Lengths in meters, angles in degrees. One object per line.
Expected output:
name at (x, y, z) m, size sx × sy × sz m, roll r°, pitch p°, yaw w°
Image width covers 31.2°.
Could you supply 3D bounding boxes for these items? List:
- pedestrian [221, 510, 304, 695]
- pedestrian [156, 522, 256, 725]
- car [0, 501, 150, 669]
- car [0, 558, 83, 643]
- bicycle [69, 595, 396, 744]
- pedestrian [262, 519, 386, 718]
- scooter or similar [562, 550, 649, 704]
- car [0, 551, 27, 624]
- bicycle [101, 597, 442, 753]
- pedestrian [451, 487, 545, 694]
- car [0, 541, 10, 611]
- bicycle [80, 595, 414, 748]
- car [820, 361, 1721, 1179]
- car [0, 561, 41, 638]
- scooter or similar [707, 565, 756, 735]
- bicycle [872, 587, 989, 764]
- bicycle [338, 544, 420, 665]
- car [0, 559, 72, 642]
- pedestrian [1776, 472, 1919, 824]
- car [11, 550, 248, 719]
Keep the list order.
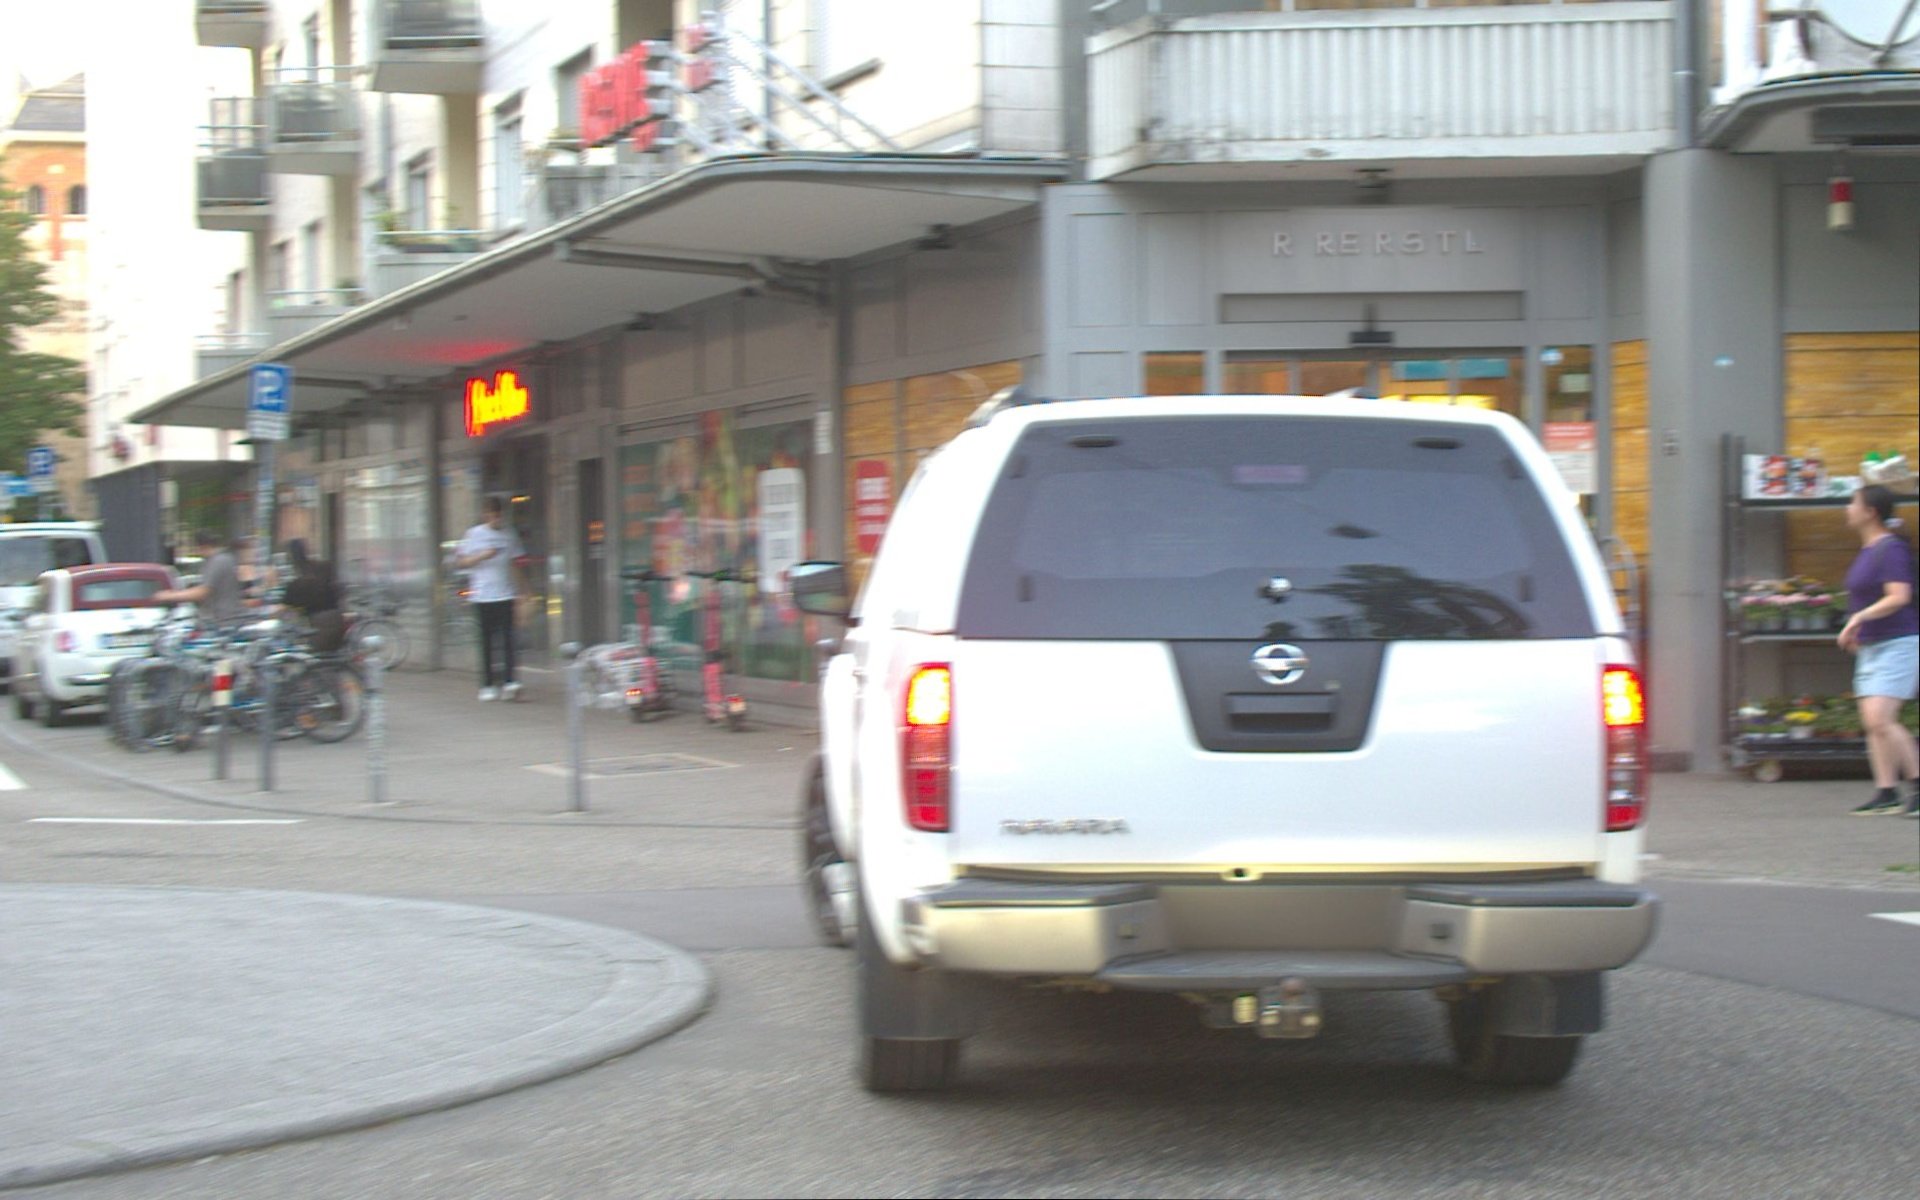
pedestrian at (-6.330, 0.023, 31.198) m, size 0.700 × 1.657 × 0.722 m, roll 1°, pitch 0°, yaw -13°
pedestrian at (-6.277, 0.197, 28.619) m, size 0.719 × 1.657 × 0.703 m, roll 1°, pitch 0°, yaw -18°
car at (-11.092, -0.184, 41.878) m, size 1.942 × 1.927 × 4.001 m, roll 1°, pitch 0°, yaw -19°
car at (-20.457, -0.002, 71.798) m, size 3.986 × 1.744 × 1.841 m, roll 1°, pitch 0°, yaw -19°
bicycle at (-5.872, 0.547, 27.784) m, size 2.461 × 1.035 × 0.617 m, roll -3°, pitch 2°, yaw -23°
pedestrian at (-5.392, 0.152, 29.160) m, size 0.701 × 1.657 × 0.721 m, roll 1°, pitch 0°, yaw 34°
scooter or similar at (-3.076, 0.225, 29.717) m, size 0.439 × 1.286 × 1.668 m, roll 1°, pitch 0°, yaw -16°
car at (-24.734, -0.332, 83.229) m, size 3.986 × 1.744 × 1.841 m, roll 1°, pitch 0°, yaw -19°
bicycle at (-5.306, 0.563, 26.550) m, size 2.461 × 1.035 × 0.617 m, roll -3°, pitch 2°, yaw -23°
pedestrian at (-4.311, -0.085, 32.058) m, size 0.719 × 1.900 × 0.703 m, roll 1°, pitch 0°, yaw -18°
car at (-25.908, -0.642, 86.034) m, size 3.986 × 1.744 × 1.841 m, roll 1°, pitch 0°, yaw -19°
bicycle at (-5.621, 0.550, 27.162) m, size 2.461 × 1.035 × 0.617 m, roll -3°, pitch 2°, yaw -23°
car at (0.589, 0.302, 10.112) m, size 1.938 × 1.804 × 5.002 m, roll 1°, pitch 2°, yaw -3°
car at (-23.287, -0.043, 79.090) m, size 3.986 × 1.744 × 1.841 m, roll 1°, pitch 0°, yaw -19°
scooter or similar at (-1.732, 0.368, 26.020) m, size 0.219 × 1.233 × 0.966 m, roll 1°, pitch 2°, yaw -11°
bicycle at (-0.195, 0.477, 22.161) m, size 0.289 × 1.109 × 0.966 m, roll 1°, pitch 0°, yaw -31°
bicycle at (-6.975, 0.048, 41.212) m, size 0.555 × 1.403 × 2.096 m, roll 1°, pitch 0°, yaw -21°
car at (-21.227, -0.014, 73.901) m, size 3.986 × 1.744 × 1.841 m, roll 1°, pitch 0°, yaw -19°
pedestrian at (4.441, 0.227, 16.530) m, size 0.716 × 1.646 × 0.714 m, roll 1°, pitch 0°, yaw -20°
car at (-8.168, 0.314, 33.597) m, size 1.834 × 1.536 × 4.001 m, roll 1°, pitch 0°, yaw -19°
